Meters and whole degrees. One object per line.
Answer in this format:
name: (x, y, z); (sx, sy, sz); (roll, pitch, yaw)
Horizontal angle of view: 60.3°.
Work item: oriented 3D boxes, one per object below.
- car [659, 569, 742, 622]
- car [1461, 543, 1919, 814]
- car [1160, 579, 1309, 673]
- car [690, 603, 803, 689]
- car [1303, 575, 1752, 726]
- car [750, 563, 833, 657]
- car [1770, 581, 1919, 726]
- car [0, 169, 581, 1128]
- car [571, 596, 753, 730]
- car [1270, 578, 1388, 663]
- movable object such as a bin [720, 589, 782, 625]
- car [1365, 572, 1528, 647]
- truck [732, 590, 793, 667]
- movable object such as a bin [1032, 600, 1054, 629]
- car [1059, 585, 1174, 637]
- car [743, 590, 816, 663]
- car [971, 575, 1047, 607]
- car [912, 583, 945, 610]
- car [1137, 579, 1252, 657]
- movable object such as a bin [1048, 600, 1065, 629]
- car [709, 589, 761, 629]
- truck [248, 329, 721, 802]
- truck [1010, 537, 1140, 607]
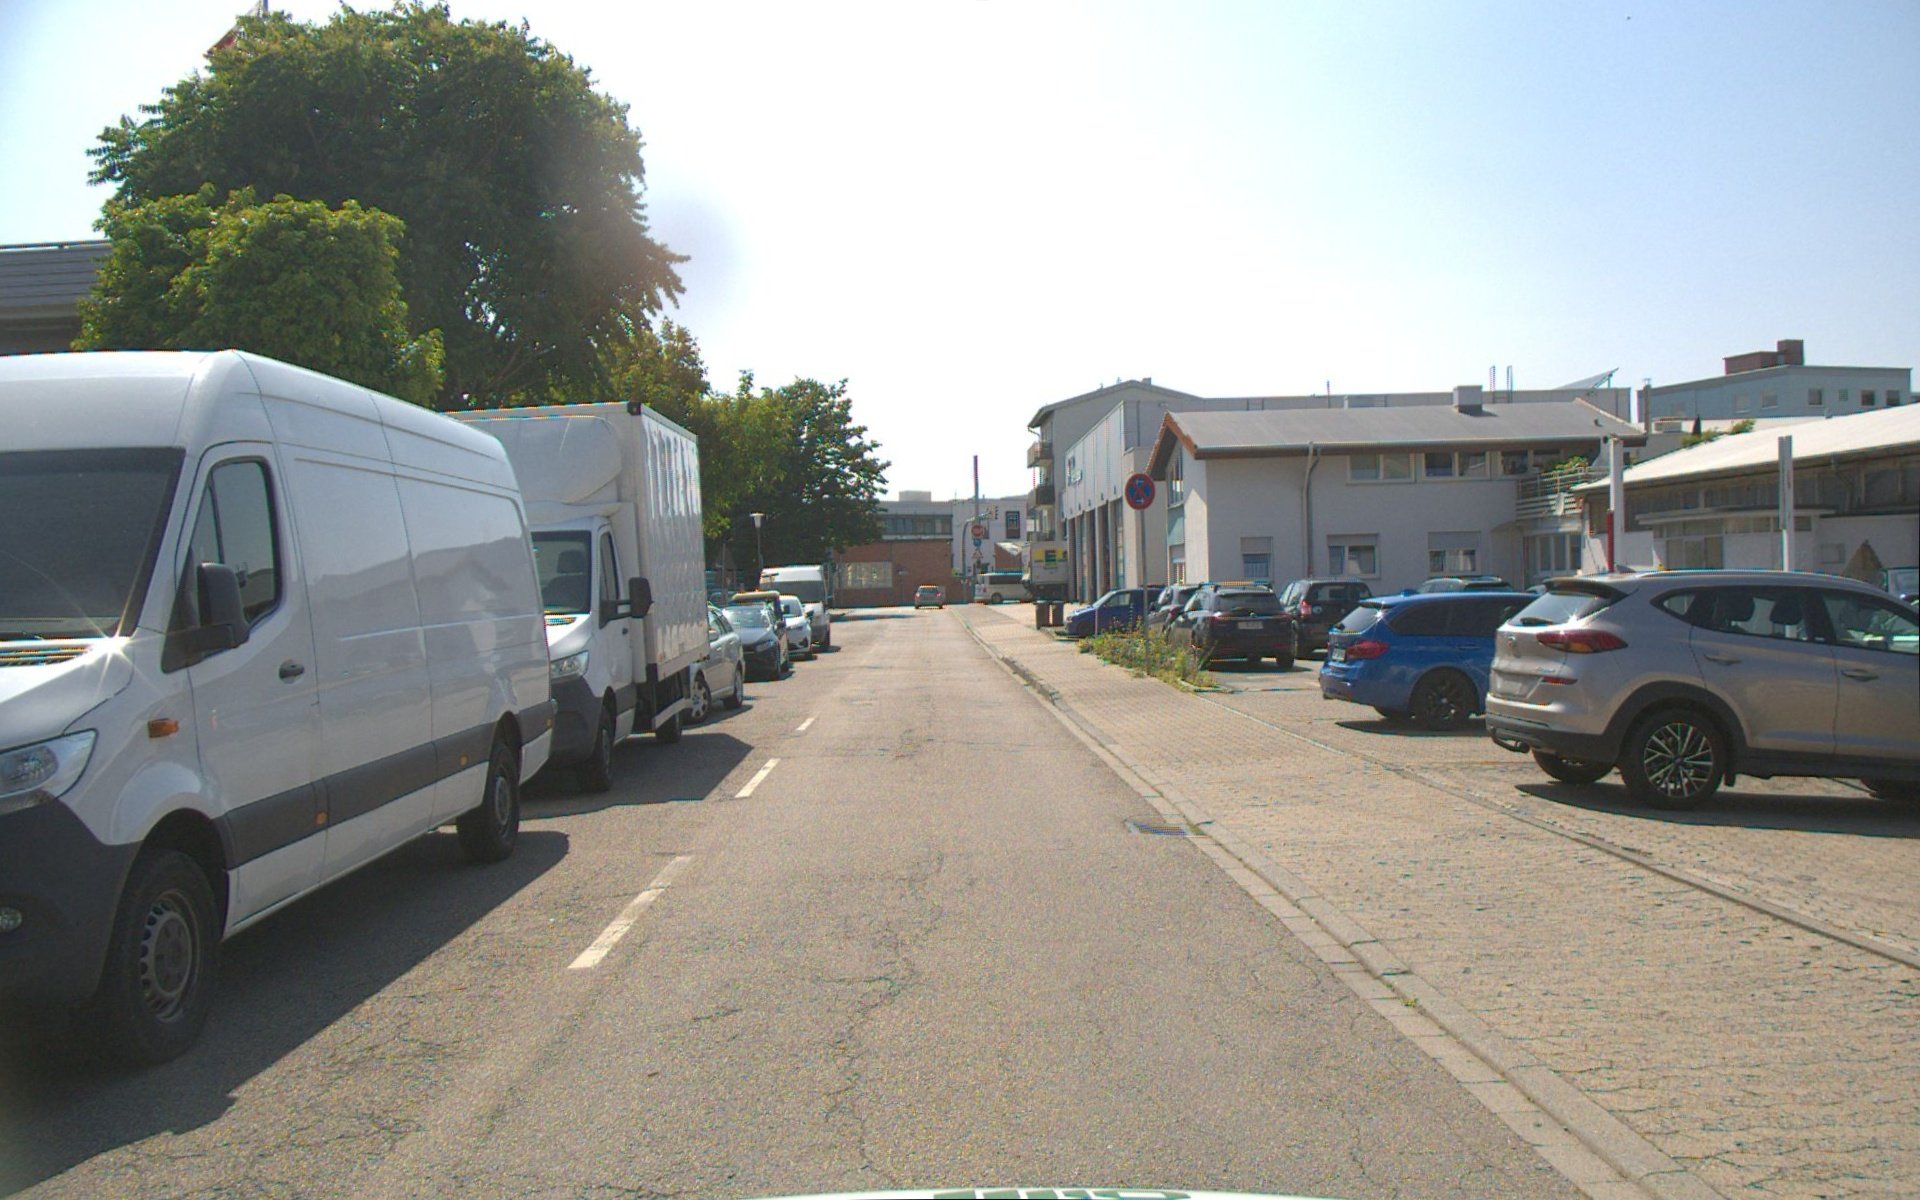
car: (-13.225, -0.239, 84.468); (4.004, 2.557, 1.776); (-1, 0, -3)
car: (6.056, 0.588, 12.191); (4.117, 1.711, 1.766); (3, -1, -2)
car: (5.105, 0.445, 31.390); (1.821, 1.595, 4.949); (-1, 0, -2)
car: (-4.088, 0.842, 32.158); (1.670, 1.488, 4.113); (-3, 0, -1)
car: (6.133, 0.527, 18.220); (4.265, 1.467, 1.891); (-1, 0, -2)
car: (-4.696, 0.315, 46.810); (1.965, 2.407, 5.225); (-3, -1, -3)
car: (10.631, 0.525, 17.316); (1.849, 1.467, 4.451); (-1, 0, -4)
car: (-3.711, 0.190, 7.936); (2.124, 2.641, 6.919); (-2, -1, 0)
car: (-3.840, 0.751, 21.962); (1.706, 1.547, 4.308); (-1, 0, -2)
car: (7.612, 0.390, 34.404); (1.723, 1.622, 3.620); (2, 1, 2)
movable object such as a bin: (-9.767, 0.322, 77.550); (2.574, 1.536, 2.727); (-2, 1, -2)
car: (10.897, 0.206, 37.371); (1.729, 1.522, 4.137); (-3, 0, -12)
truck: (-4.516, 0.620, 38.030); (1.116, 1.650, 3.139); (-3, 0, -4)
movable object such as a bin: (2.829, 0.484, 56.359); (0.557, 0.962, 0.556); (-2, 0, 32)
car: (4.590, 0.301, 48.809); (3.187, 1.423, 1.673); (-1, 0, -1)
car: (-4.521, 0.638, 41.640); (1.672, 1.652, 3.968); (-3, 0, -6)
car: (3.214, -0.609, 108.386); (4.586, 1.992, 1.905); (-1, 0, -21)
car: (-2.050, -0.200, 107.485); (1.853, 1.714, 3.953); (-1, -1, -5)
car: (5.164, 0.365, 36.940); (1.775, 1.585, 4.291); (-1, 0, -2)
movable object such as a bin: (3.304, 0.498, 56.784); (0.502, 0.962, 0.488); (-2, 0, 10)
car: (-9.363, 0.365, 68.956); (1.778, 1.557, 3.673); (-2, 0, -3)
truck: (-4.034, -0.230, 15.824); (2.631, 3.425, 7.126); (-2, -1, -2)
truck: (6.927, -1.698, 100.082); (7.221, 3.708, 2.763); (-4, 1, -8)
